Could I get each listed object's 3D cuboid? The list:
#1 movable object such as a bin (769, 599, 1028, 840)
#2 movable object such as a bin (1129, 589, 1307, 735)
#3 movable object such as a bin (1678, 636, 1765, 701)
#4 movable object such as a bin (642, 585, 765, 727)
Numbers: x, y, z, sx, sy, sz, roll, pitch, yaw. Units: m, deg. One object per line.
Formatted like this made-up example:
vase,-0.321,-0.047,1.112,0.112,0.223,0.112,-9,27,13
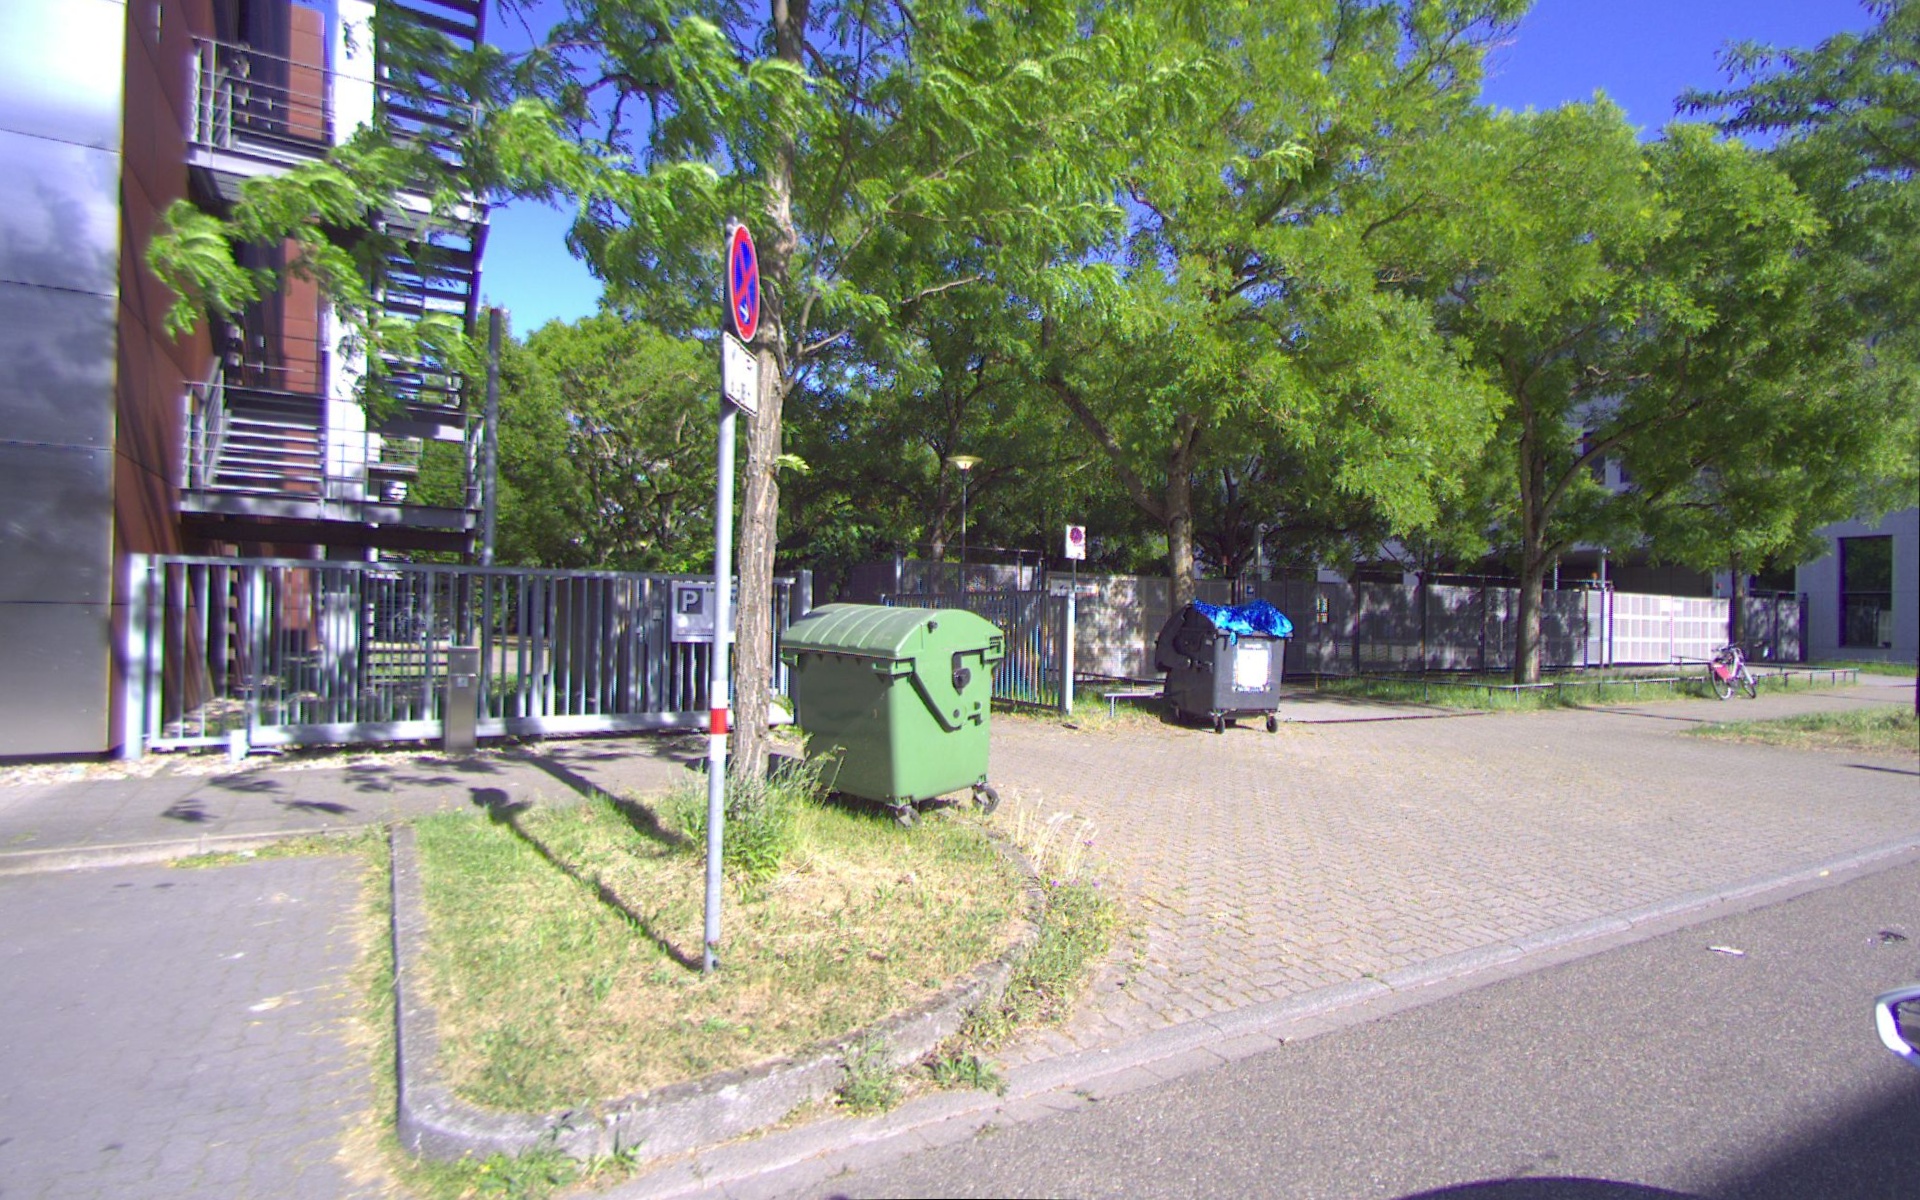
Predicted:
movable object such as a bin,-0.421,0.726,6.890,1.279,1.432,1.221,0,-1,42
movable object such as a bin,3.226,0.762,12.657,1.503,1.618,1.408,4,2,-27
movable object such as a bin,14.776,1.300,19.481,1.913,1.197,0.660,1,-1,-30
movable object such as a bin,-2.974,0.625,11.566,0.999,1.505,1.474,2,-2,-29
